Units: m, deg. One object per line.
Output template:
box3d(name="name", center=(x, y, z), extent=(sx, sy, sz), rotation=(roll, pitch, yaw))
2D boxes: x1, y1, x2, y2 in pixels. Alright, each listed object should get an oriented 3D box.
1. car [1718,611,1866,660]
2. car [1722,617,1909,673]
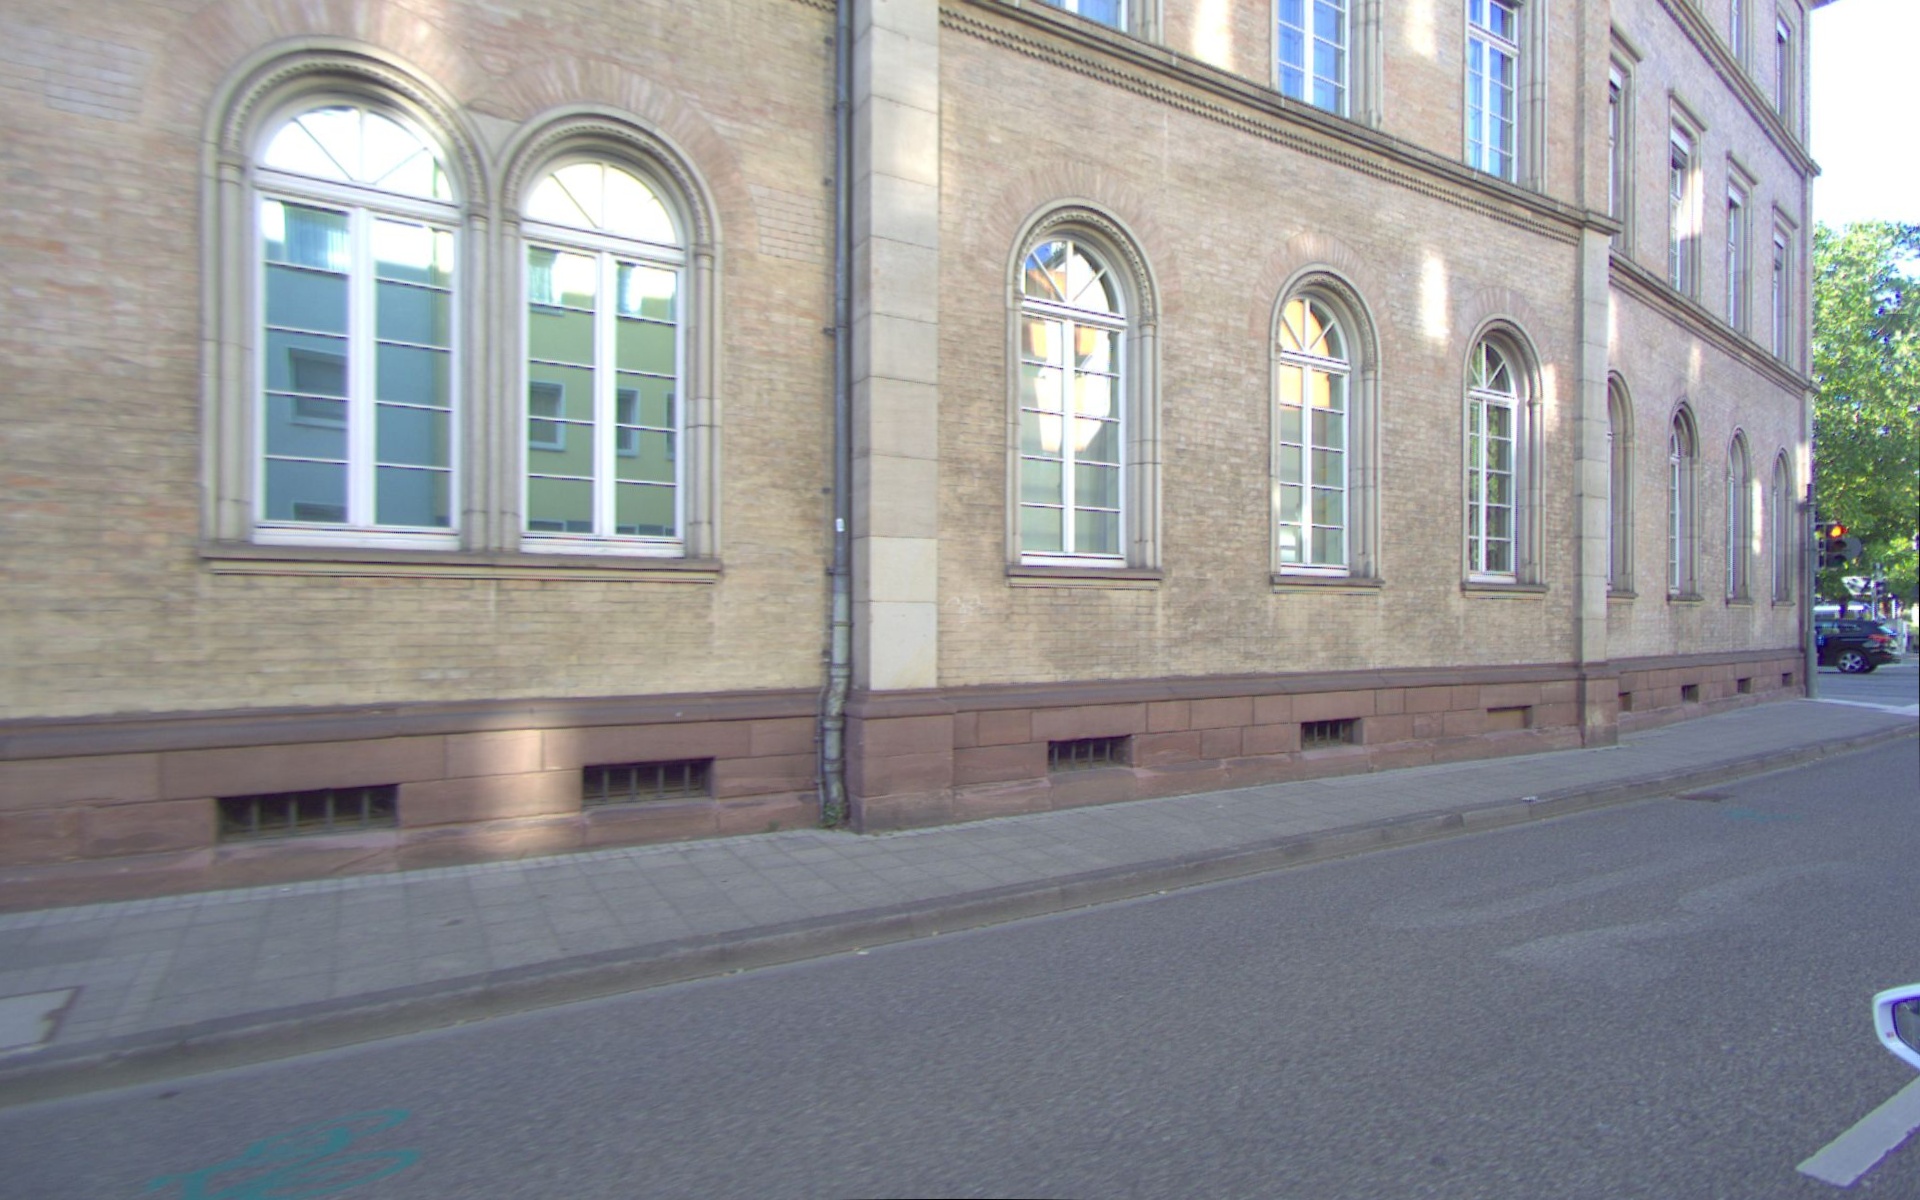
box3d(name="car", center=(32.164, 1.327, 38.929), extent=(1.889, 1.801, 4.189), rotation=(1, -1, -40))
box3d(name="car", center=(25.485, 1.288, 30.038), extent=(1.851, 1.546, 3.958), rotation=(1, -1, -37))
